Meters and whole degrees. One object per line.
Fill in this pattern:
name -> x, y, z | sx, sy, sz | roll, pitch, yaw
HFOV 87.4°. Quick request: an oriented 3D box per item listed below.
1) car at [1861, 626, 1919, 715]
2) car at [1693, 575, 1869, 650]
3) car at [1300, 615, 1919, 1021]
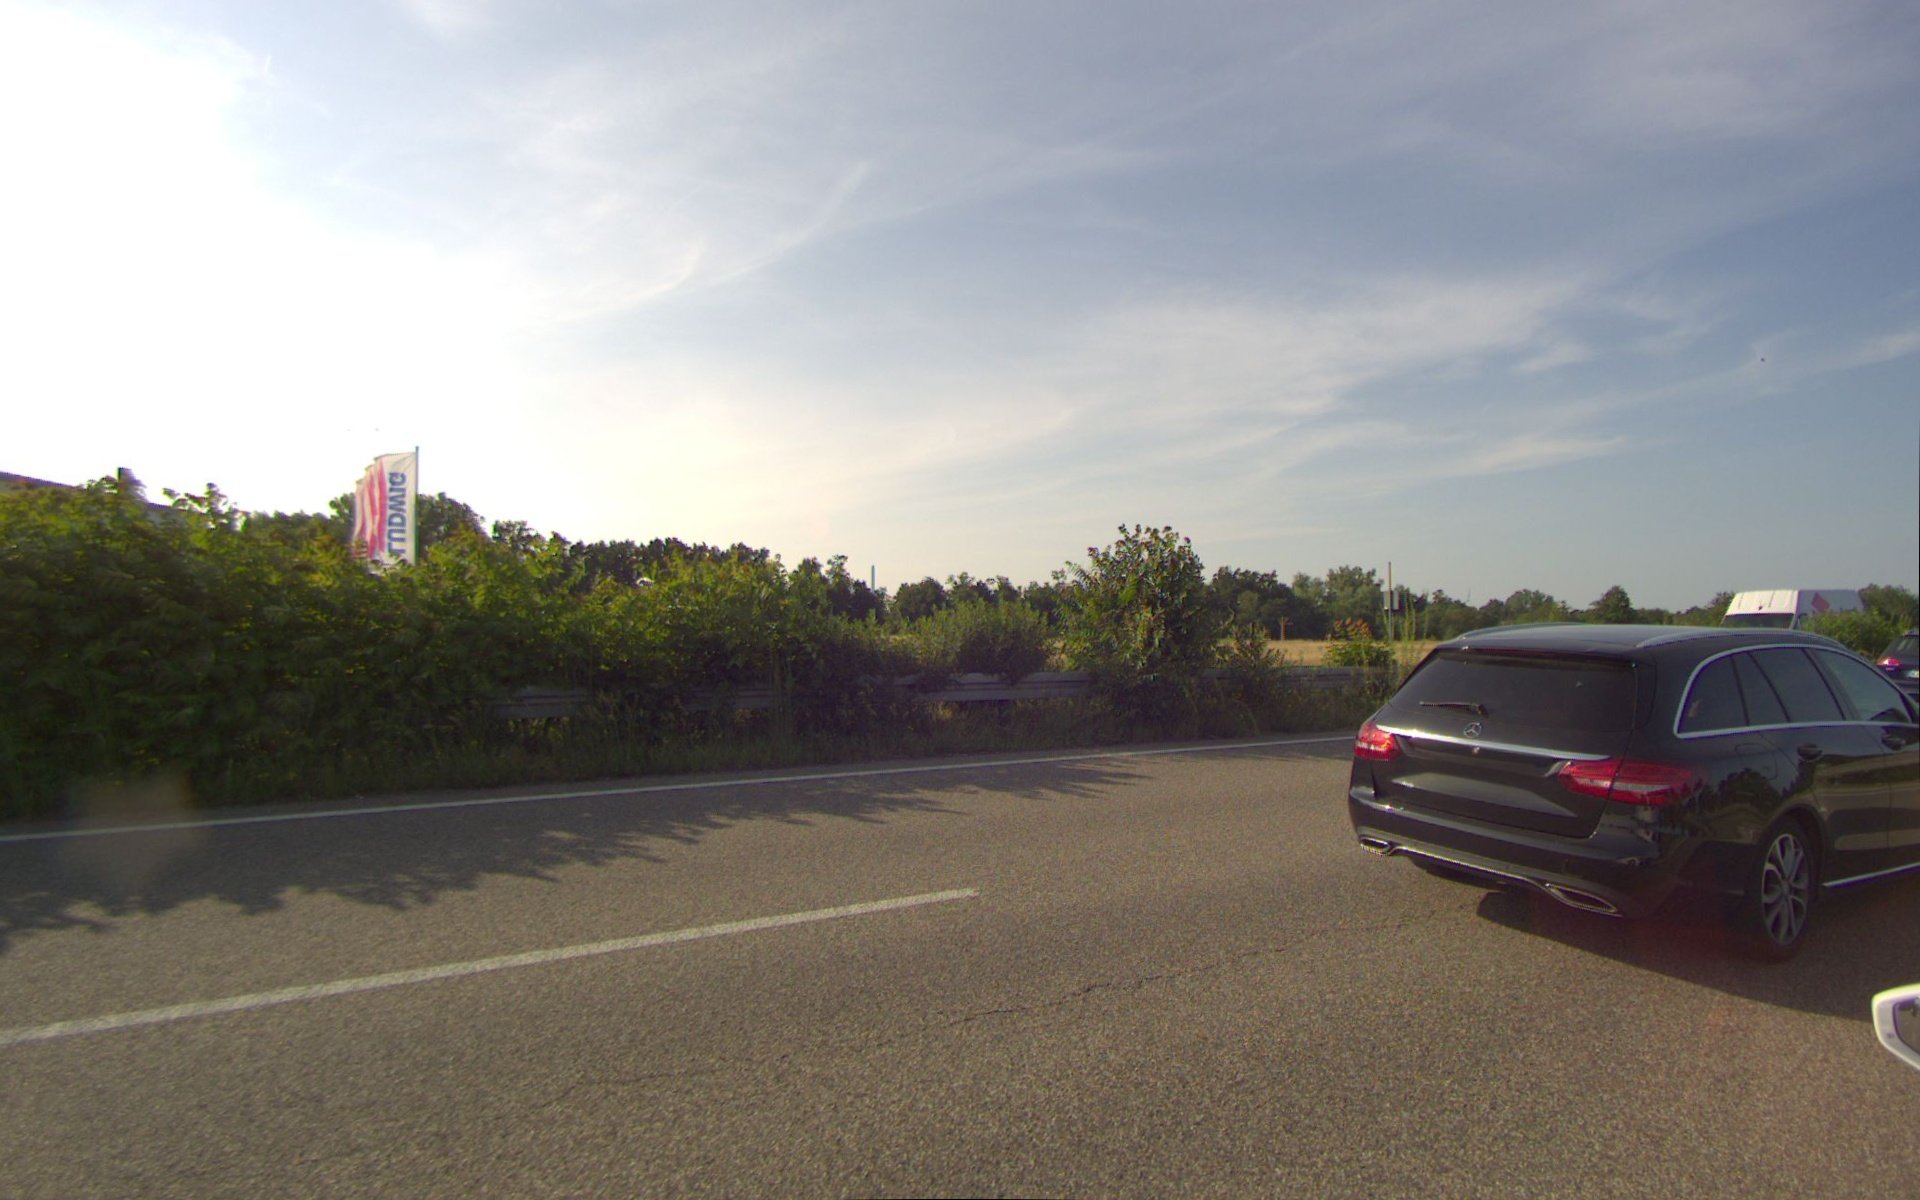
car -> 18.323, 1.241, 18.182 | 4.720, 1.490, 1.638 | 1, -1, -30
car -> 25.347, 0.425, 30.936 | 6.250, 2.062, 2.151 | 2, 0, -31
car -> 4.247, 0.860, 5.631 | 4.963, 1.490, 1.565 | 1, -1, -30
